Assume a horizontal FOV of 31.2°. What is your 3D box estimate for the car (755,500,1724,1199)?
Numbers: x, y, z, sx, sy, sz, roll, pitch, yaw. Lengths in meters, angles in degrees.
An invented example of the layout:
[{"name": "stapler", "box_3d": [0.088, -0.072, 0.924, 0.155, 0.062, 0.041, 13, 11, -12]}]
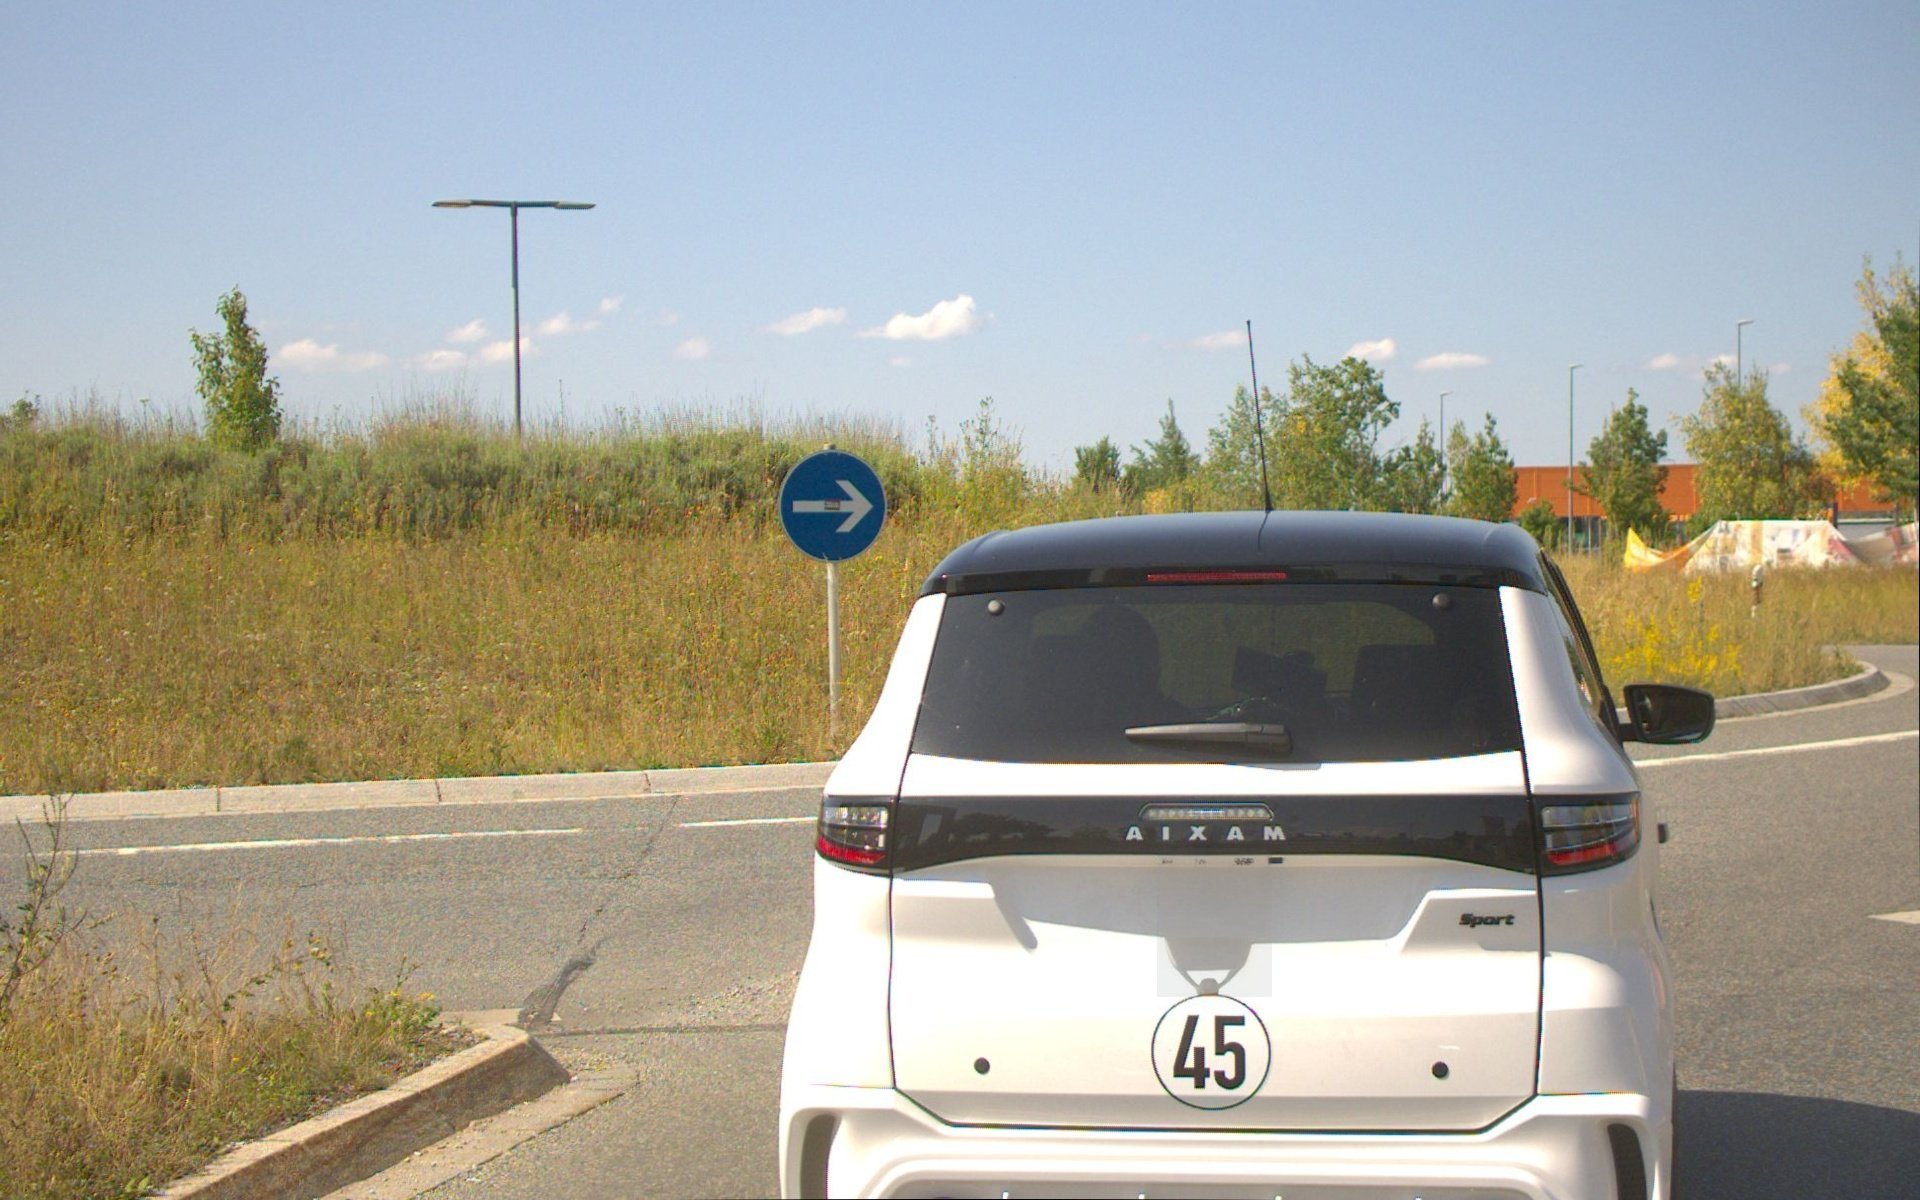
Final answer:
[{"name": "car", "box_3d": [0.677, 0.548, 7.047, 1.510, 1.435, 3.350, 0, 3, 9]}]
